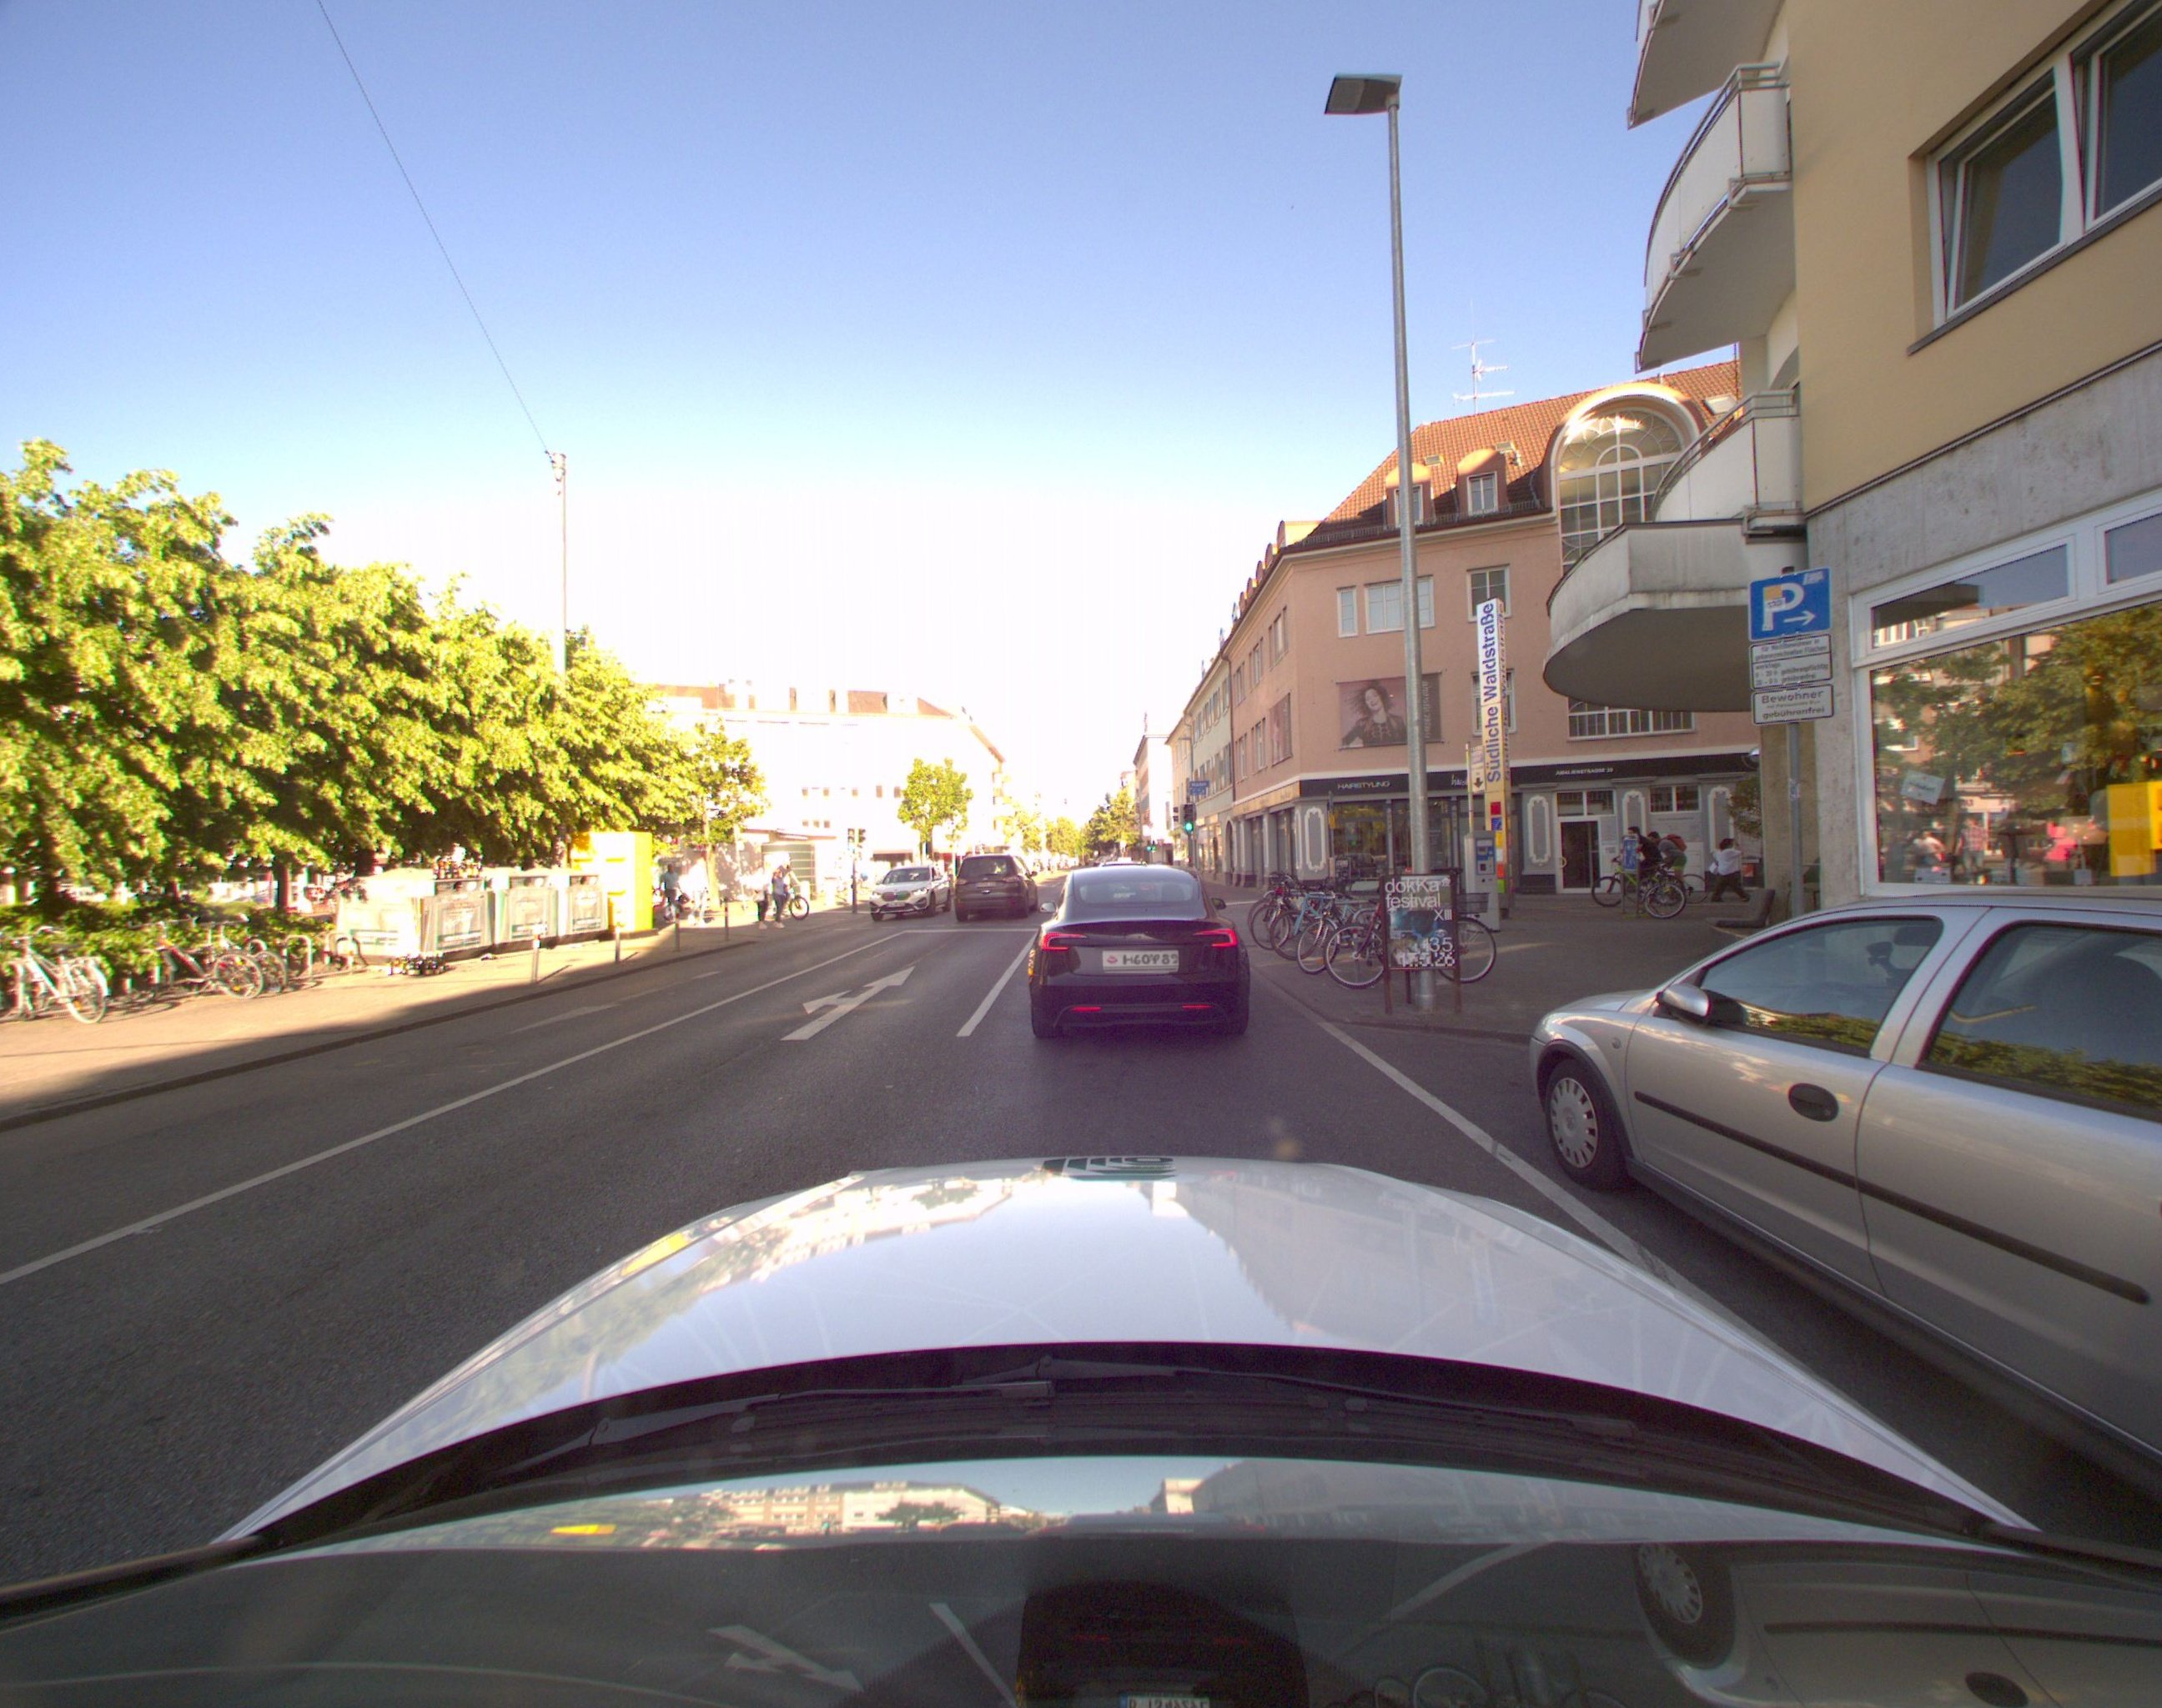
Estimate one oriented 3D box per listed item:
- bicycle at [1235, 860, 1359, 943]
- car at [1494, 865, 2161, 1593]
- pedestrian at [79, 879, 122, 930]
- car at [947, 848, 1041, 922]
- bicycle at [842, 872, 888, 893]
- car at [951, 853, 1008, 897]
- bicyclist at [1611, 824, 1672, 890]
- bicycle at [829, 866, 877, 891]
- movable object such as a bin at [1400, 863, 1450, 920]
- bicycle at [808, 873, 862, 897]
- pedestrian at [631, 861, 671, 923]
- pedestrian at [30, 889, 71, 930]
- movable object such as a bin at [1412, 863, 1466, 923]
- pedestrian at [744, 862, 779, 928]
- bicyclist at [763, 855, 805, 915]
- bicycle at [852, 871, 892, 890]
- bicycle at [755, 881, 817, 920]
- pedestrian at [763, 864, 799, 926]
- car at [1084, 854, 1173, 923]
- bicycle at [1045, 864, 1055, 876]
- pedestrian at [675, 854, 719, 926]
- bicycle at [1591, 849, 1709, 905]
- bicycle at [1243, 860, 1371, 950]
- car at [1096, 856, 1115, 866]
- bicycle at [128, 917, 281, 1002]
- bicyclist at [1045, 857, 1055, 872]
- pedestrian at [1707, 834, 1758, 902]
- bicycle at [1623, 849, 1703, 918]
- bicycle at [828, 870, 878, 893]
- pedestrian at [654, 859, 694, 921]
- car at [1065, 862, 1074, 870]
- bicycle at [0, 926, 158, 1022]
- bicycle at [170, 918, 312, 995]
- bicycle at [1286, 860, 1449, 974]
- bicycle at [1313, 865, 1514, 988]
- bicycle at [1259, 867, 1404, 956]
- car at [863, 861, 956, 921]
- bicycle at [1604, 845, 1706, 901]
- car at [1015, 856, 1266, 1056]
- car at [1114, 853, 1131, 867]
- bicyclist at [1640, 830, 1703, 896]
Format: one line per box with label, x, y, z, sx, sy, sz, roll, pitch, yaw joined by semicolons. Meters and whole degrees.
bicycle;3.572;0.782;13.633;1.851;1.258;0.834;-3;-1;7
car;2.929;0.739;2.502;1.607;1.382;3.644;0;0;2
pedestrian;-40.289;2.068;33.461;1.169;2.014;0.937;-2;-1;31
car;-2.264;0.774;22.482;1.987;1.772;4.728;-2;0;0
bicycle;-13.022;1.722;49.160;2.528;1.156;0.841;-1;-1;-4
car;-4.783;0.944;39.049;1.827;1.845;4.676;-5;0;2
bicyclist;12.307;0.069;17.905;0.915;1.414;0.810;-2;-1;21
bicycle;-12.977;1.387;46.403;2.472;1.324;0.921;-1;-1;-4
movable object such as a bin;6.700;0.727;15.901;0.730;1.092;0.628;0;-1;3
bicycle;-12.650;1.566;41.926;2.497;1.156;0.842;-1;-1;0
pedestrian;-12.628;1.116;23.925;0.885;1.768;0.657;-2;-1;33
pedestrian;-52.604;2.800;41.570;1.048;2.014;0.814;-1;-1;0
movable object such as a bin;6.692;0.720;15.264;0.749;1.092;0.628;0;-1;3
pedestrian;-8.579;1.084;21.877;0.541;1.728;0.679;-2;-1;34
bicyclist;-9.309;0.948;25.555;0.941;1.838;0.793;-1;-1;25
bicycle;-13.239;1.674;51.595;2.319;1.156;0.841;-1;-1;-4
bicycle;-9.233;1.451;25.491;2.042;1.139;0.541;0;0;25
pedestrian;-8.259;1.126;22.428;0.676;1.662;0.625;-2;-1;37
car;1.104;0.797;20.534;1.987;1.512;4.175;-1;0;0
bicycle;-3.578;1.840;94.697;1.108;1.344;3.998;-1;0;-1
pedestrian;-10.651;0.981;22.599;0.823;1.955;0.712;0;-1;13
bicycle;12.426;0.513;17.860;1.951;1.149;0.795;-2;-1;21
bicycle;3.458;0.770;12.604;1.738;1.267;0.782;-3;-1;4
car;4.978;1.377;166.588;3.974;2.014;2.000;-1;0;0
bicycle;-11.368;1.361;10.578;1.561;1.023;0.430;-1;-1;2
bicyclist;-3.604;1.225;94.796;1.123;1.628;0.965;-1;-1;-2
pedestrian;15.348;0.329;19.199;0.740;1.552;0.703;-1;-1;24
bicycle;10.979;0.523;15.440;0.653;1.199;2.223;-2;-1;21
bicycle;-12.445;1.501;44.456;2.453;1.156;0.842;-1;-1;0
pedestrian;-12.252;1.075;24.494;0.835;1.827;0.747;-2;-1;35
car;-2.641;2.750;186.274;1.988;1.637;3.998;-1;-1;-1
bicycle;-11.503;1.353;9.258;1.590;1.018;0.430;-1;-1;2
bicycle;-11.415;1.386;11.083;1.517;0.958;0.430;-1;1;3
bicycle;3.493;0.757;10.072;1.713;1.268;0.792;-3;-1;7
bicycle;3.590;0.779;8.936;1.876;1.193;0.693;-3;0;7
bicycle;3.473;0.789;11.424;1.788;1.124;0.783;-3;-1;7
car;-5.220;1.070;25.310;1.801;1.555;4.310;-5;0;1
bicycle;13.177;0.443;18.761;1.778;1.222;0.684;-2;-1;21
car;0.504;0.784;8.096;1.841;1.455;4.001;-1;-1;2
car;5.059;0.767;99.805;1.986;1.629;4.002;-1;-1;2
bicyclist;13.496;0.205;18.638;0.938;1.449;0.810;-2;-1;21
